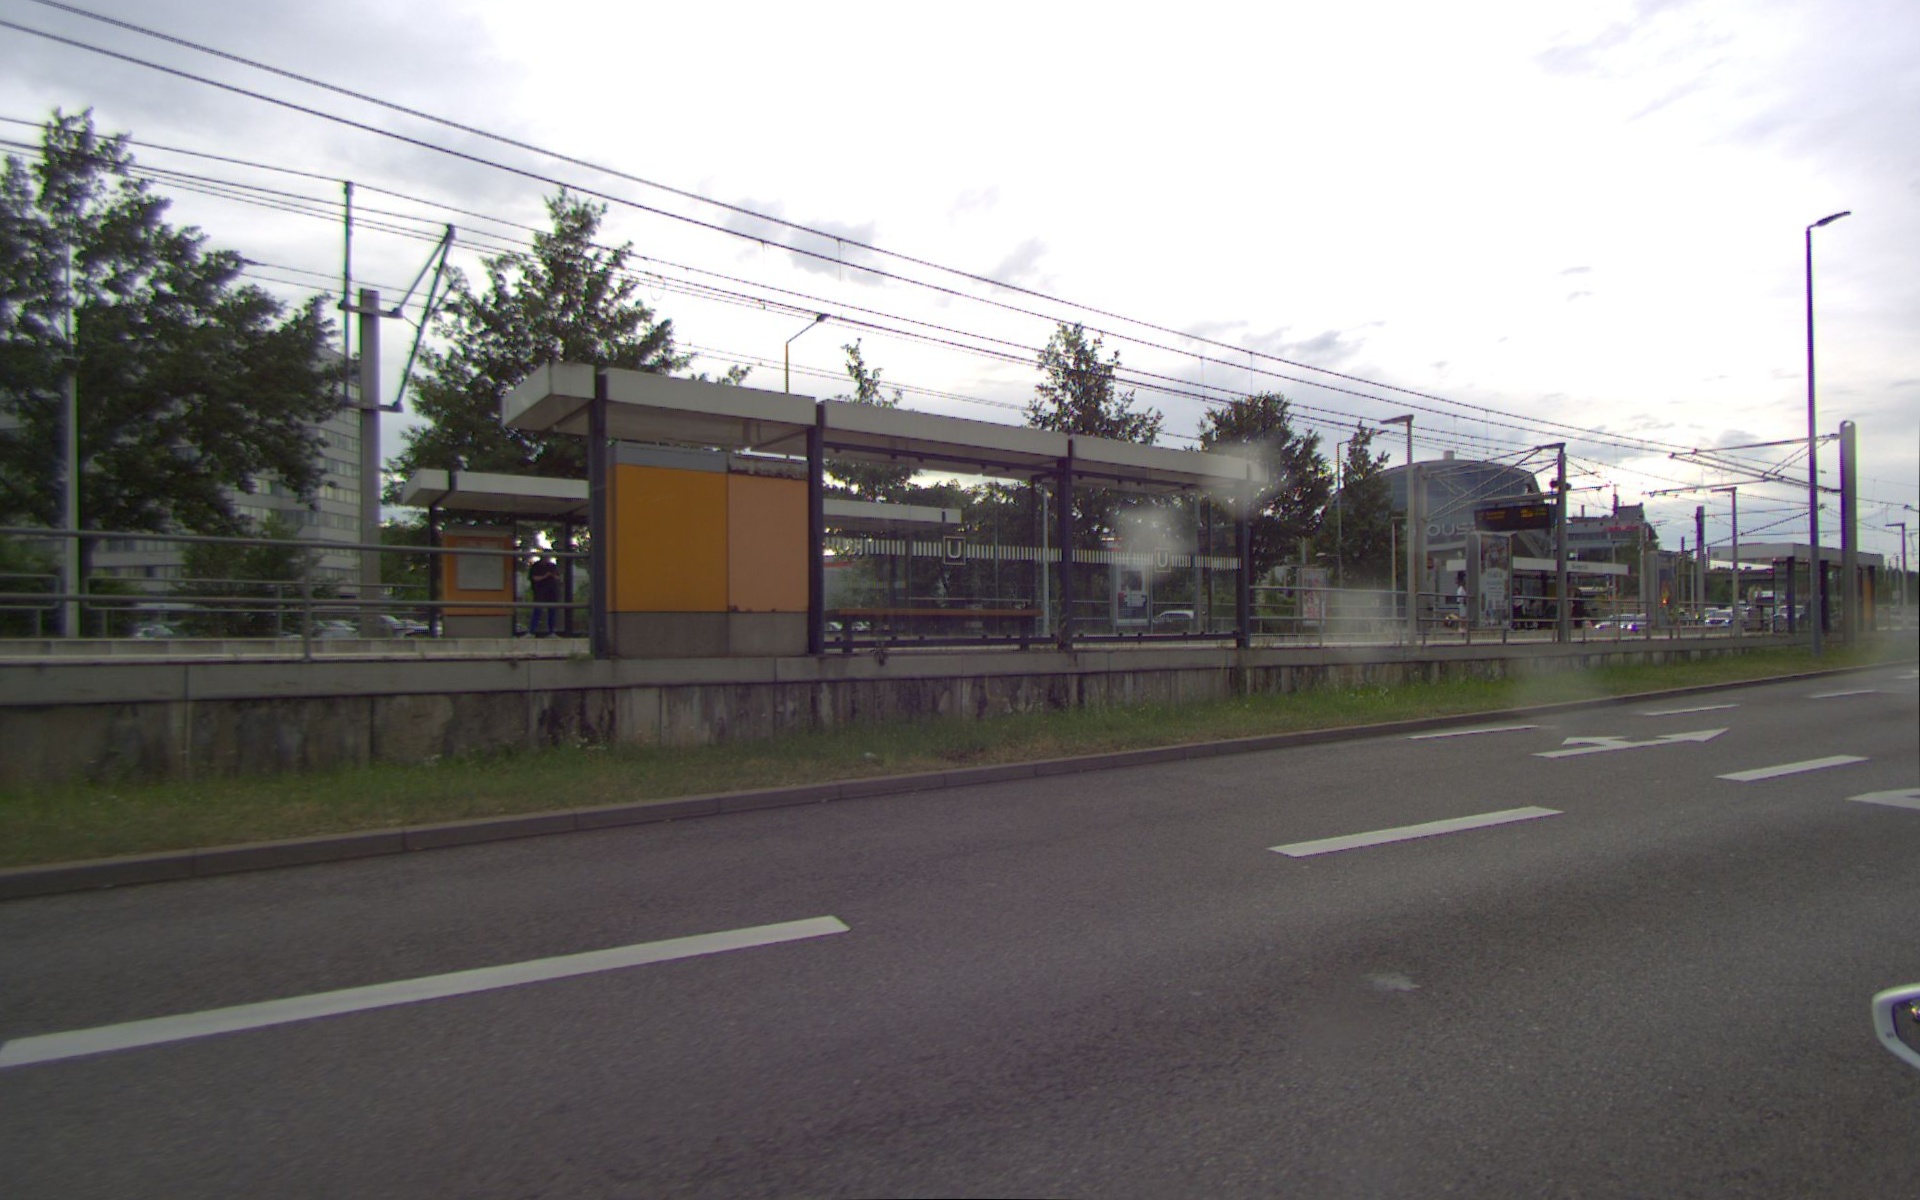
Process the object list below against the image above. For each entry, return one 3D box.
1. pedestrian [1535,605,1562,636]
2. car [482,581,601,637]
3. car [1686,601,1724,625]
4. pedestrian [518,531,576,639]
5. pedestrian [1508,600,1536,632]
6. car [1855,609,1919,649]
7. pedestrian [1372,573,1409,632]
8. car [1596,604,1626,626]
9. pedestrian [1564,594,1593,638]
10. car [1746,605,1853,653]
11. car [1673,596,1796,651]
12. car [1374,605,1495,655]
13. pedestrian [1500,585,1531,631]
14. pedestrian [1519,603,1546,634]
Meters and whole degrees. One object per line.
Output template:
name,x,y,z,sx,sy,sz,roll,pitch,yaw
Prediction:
pedestrian,24.810,0.848,42.368,0.725,1.269,0.721,3,-1,-36
car,-16.124,0.354,38.747,3.957,2.040,1.982,1,0,-33
car,69.890,1.251,94.249,1.962,2.040,3.999,3,-2,24
pedestrian,-7.468,-0.260,18.158,0.744,1.878,0.633,5,-2,-36
pedestrian,22.885,0.661,40.888,0.725,1.269,0.721,3,-1,-36
car,44.042,1.360,47.282,3.809,1.697,1.980,2,2,-35
pedestrian,15.480,0.097,36.112,1.034,2.040,0.846,5,-2,-44
car,67.685,1.585,104.450,1.962,2.040,3.999,3,-2,24
pedestrian,25.717,0.667,41.783,0.756,1.773,0.747,5,-2,-34
car,29.391,1.019,35.146,3.810,1.471,1.980,4,-2,-35
car,23.820,0.680,30.872,3.808,1.472,1.980,-2,2,-35
car,13.939,0.842,29.459,3.301,1.354,1.846,0,0,-35
pedestrian,21.540,0.322,38.979,0.823,1.737,0.725,3,-1,-34
pedestrian,23.853,0.766,41.819,0.725,1.269,0.721,3,-1,-36
